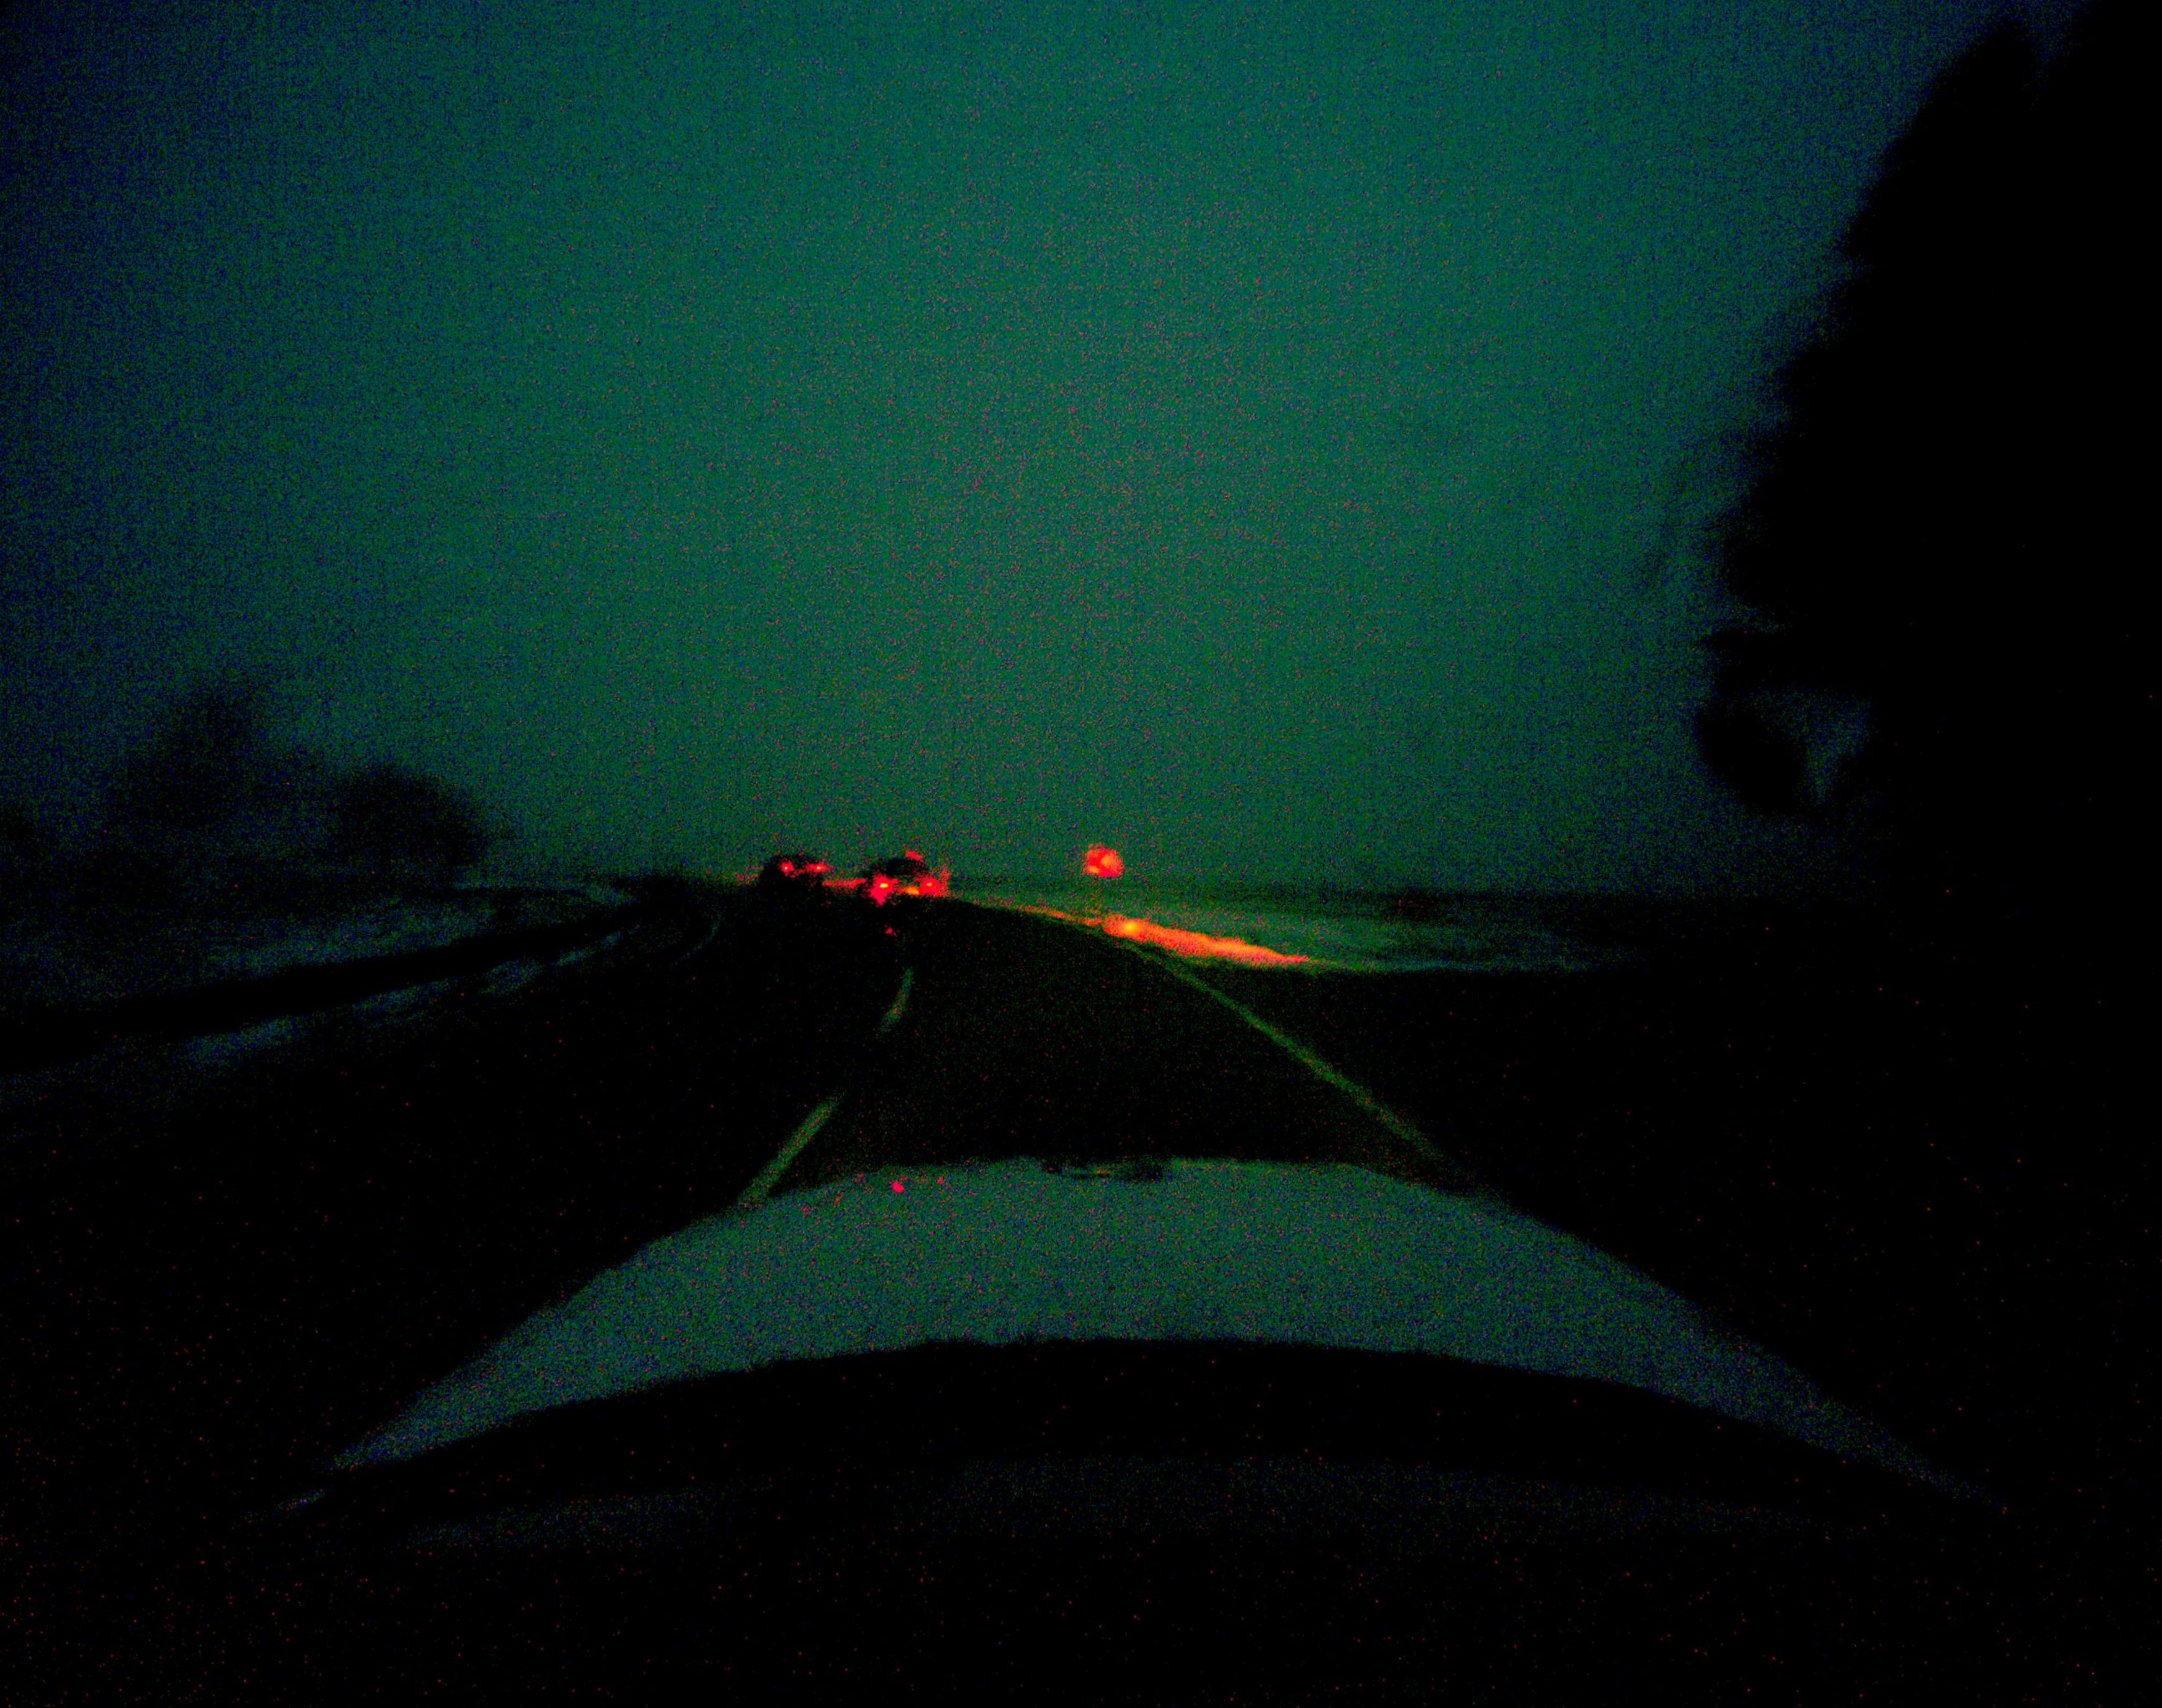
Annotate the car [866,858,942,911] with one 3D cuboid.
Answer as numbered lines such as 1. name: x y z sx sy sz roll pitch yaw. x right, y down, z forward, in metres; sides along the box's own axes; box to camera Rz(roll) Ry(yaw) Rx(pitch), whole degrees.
1. car: -5.288 0.836 24.015 1.949 1.381 3.979 -2 0 -15

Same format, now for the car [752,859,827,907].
1. car: -11.945 1.157 33.268 2.007 1.783 3.959 -2 0 -33
